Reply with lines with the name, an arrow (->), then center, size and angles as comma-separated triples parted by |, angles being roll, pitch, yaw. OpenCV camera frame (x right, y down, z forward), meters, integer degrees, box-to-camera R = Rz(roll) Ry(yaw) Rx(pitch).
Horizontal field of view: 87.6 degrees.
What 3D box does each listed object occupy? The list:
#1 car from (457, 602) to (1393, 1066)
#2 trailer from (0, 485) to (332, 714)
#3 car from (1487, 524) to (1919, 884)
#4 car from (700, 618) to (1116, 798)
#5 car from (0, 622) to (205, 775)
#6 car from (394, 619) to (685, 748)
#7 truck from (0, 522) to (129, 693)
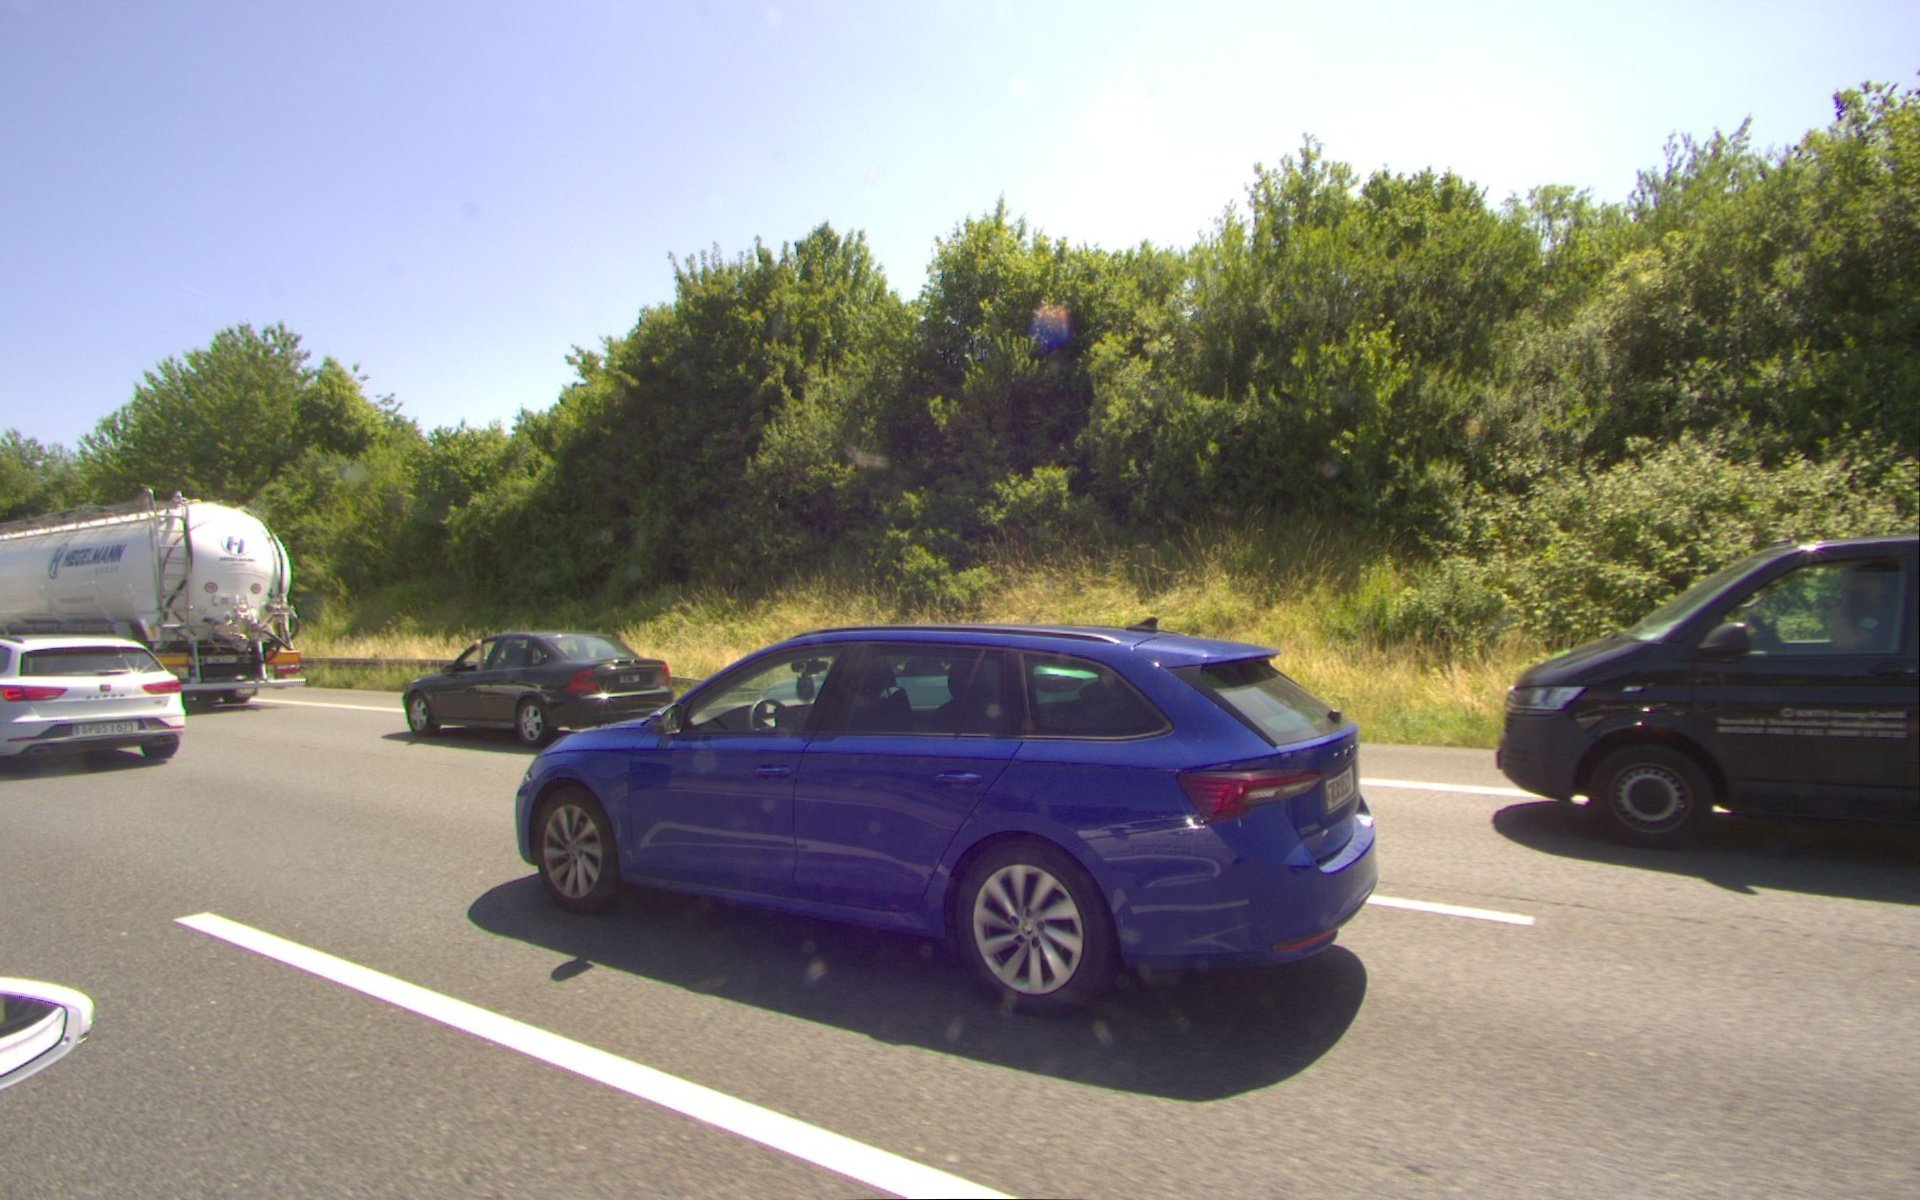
car -> -0.363, 0.813, 5.092 | 4.506, 1.435, 1.773 | -2, 0, 31
trailer -> -17.659, 0.093, 21.250 | 11.324, 3.895, 2.755 | -1, 0, 33
car -> 6.016, 0.557, 6.094 | 4.790, 1.965, 1.909 | -2, -1, 34
car -> -0.596, 0.936, 10.158 | 3.971, 1.462, 1.727 | 0, 0, 33
car -> -10.703, 1.042, 11.655 | 4.254, 1.462, 1.743 | -2, -1, 34
car -> -5.654, 1.041, 13.327 | 3.934, 1.435, 1.637 | -2, 0, 34
truck -> -23.737, 0.221, 25.171 | 5.493, 3.887, 2.787 | -1, 0, 33
